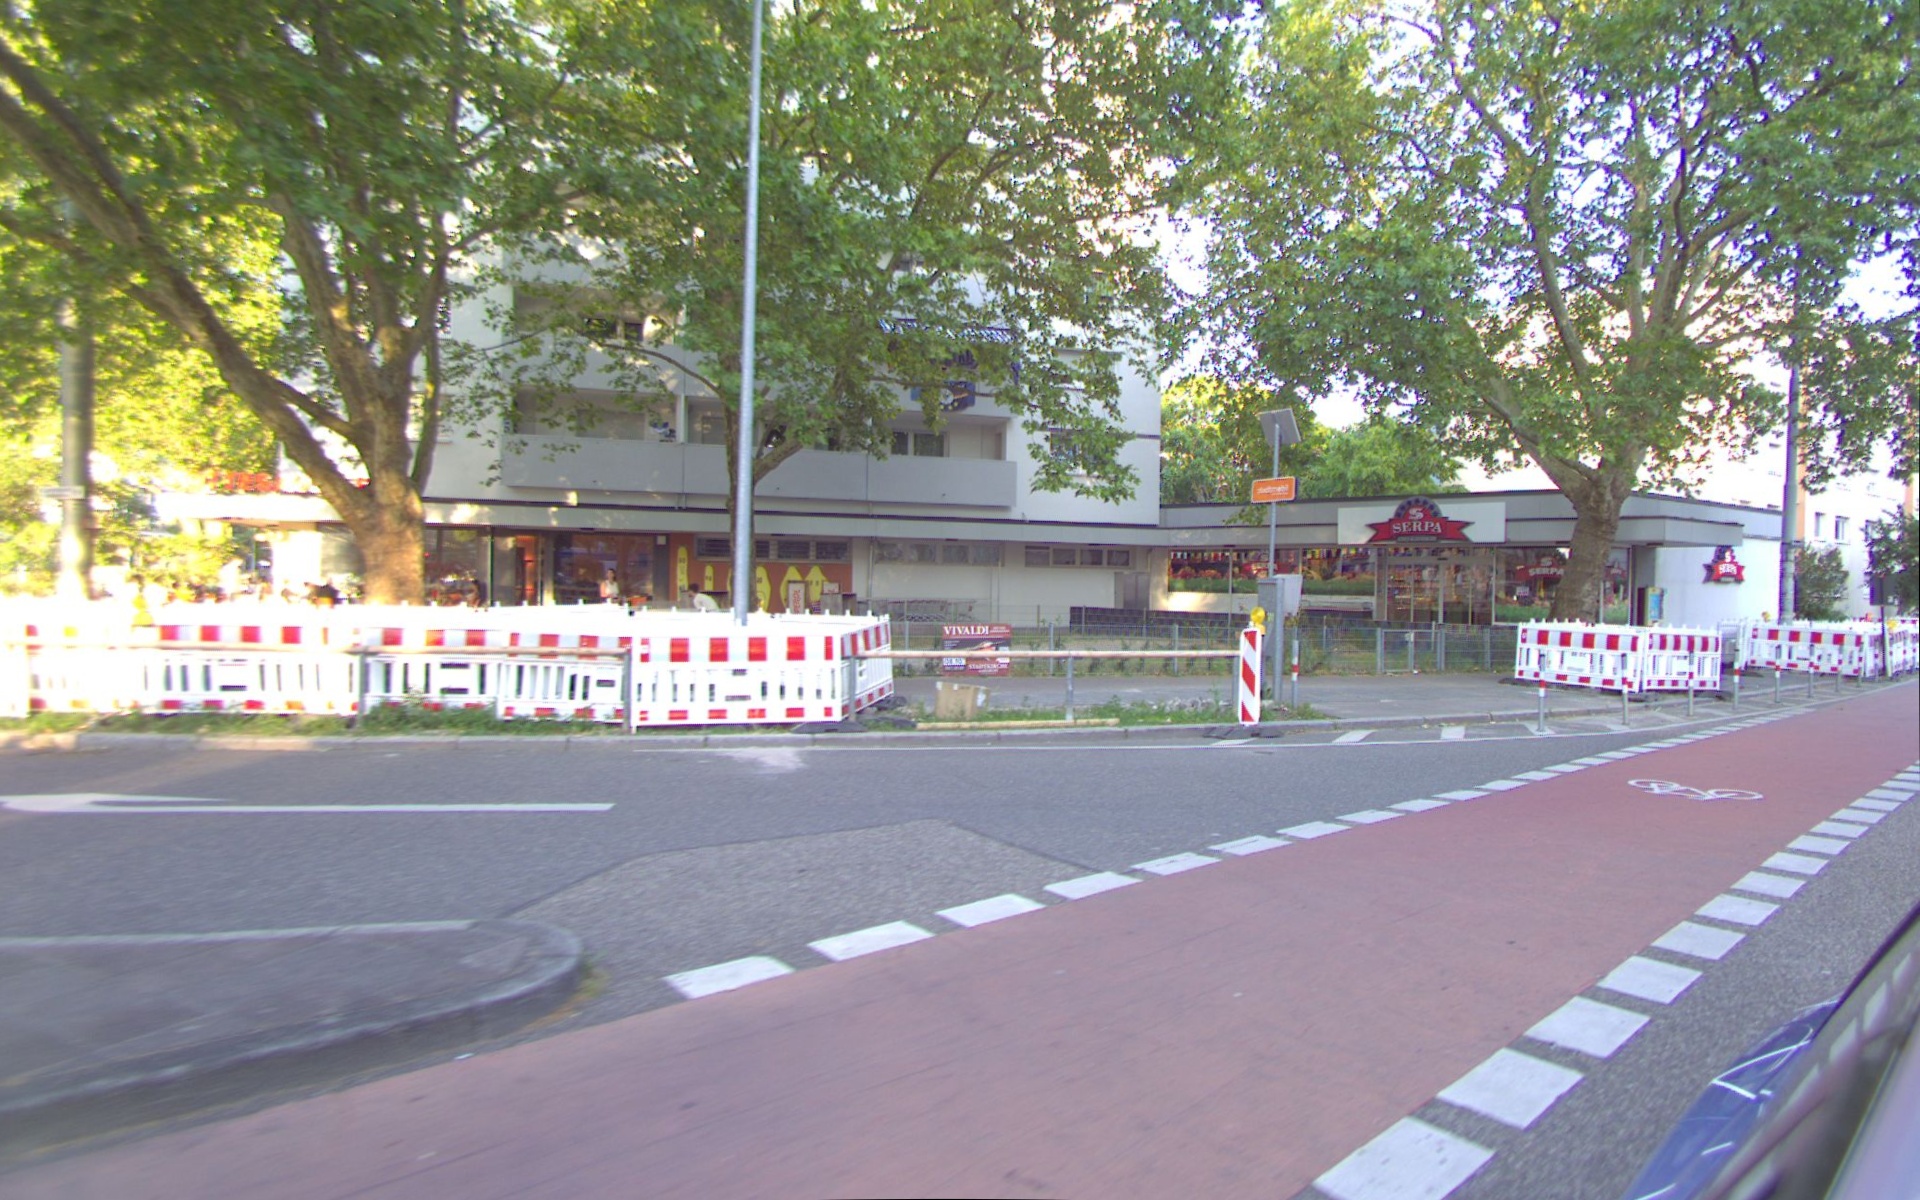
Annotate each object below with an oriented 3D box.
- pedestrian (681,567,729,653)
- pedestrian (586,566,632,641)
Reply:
[{"bbox_3d":[-4.915,0.186,19.512,0.630,1.608,0.746,-1,0,-39],"label":"pedestrian"},{"bbox_3d":[-7.716,0.063,22.252,0.639,1.608,0.735,0,0,43],"label":"pedestrian"}]
